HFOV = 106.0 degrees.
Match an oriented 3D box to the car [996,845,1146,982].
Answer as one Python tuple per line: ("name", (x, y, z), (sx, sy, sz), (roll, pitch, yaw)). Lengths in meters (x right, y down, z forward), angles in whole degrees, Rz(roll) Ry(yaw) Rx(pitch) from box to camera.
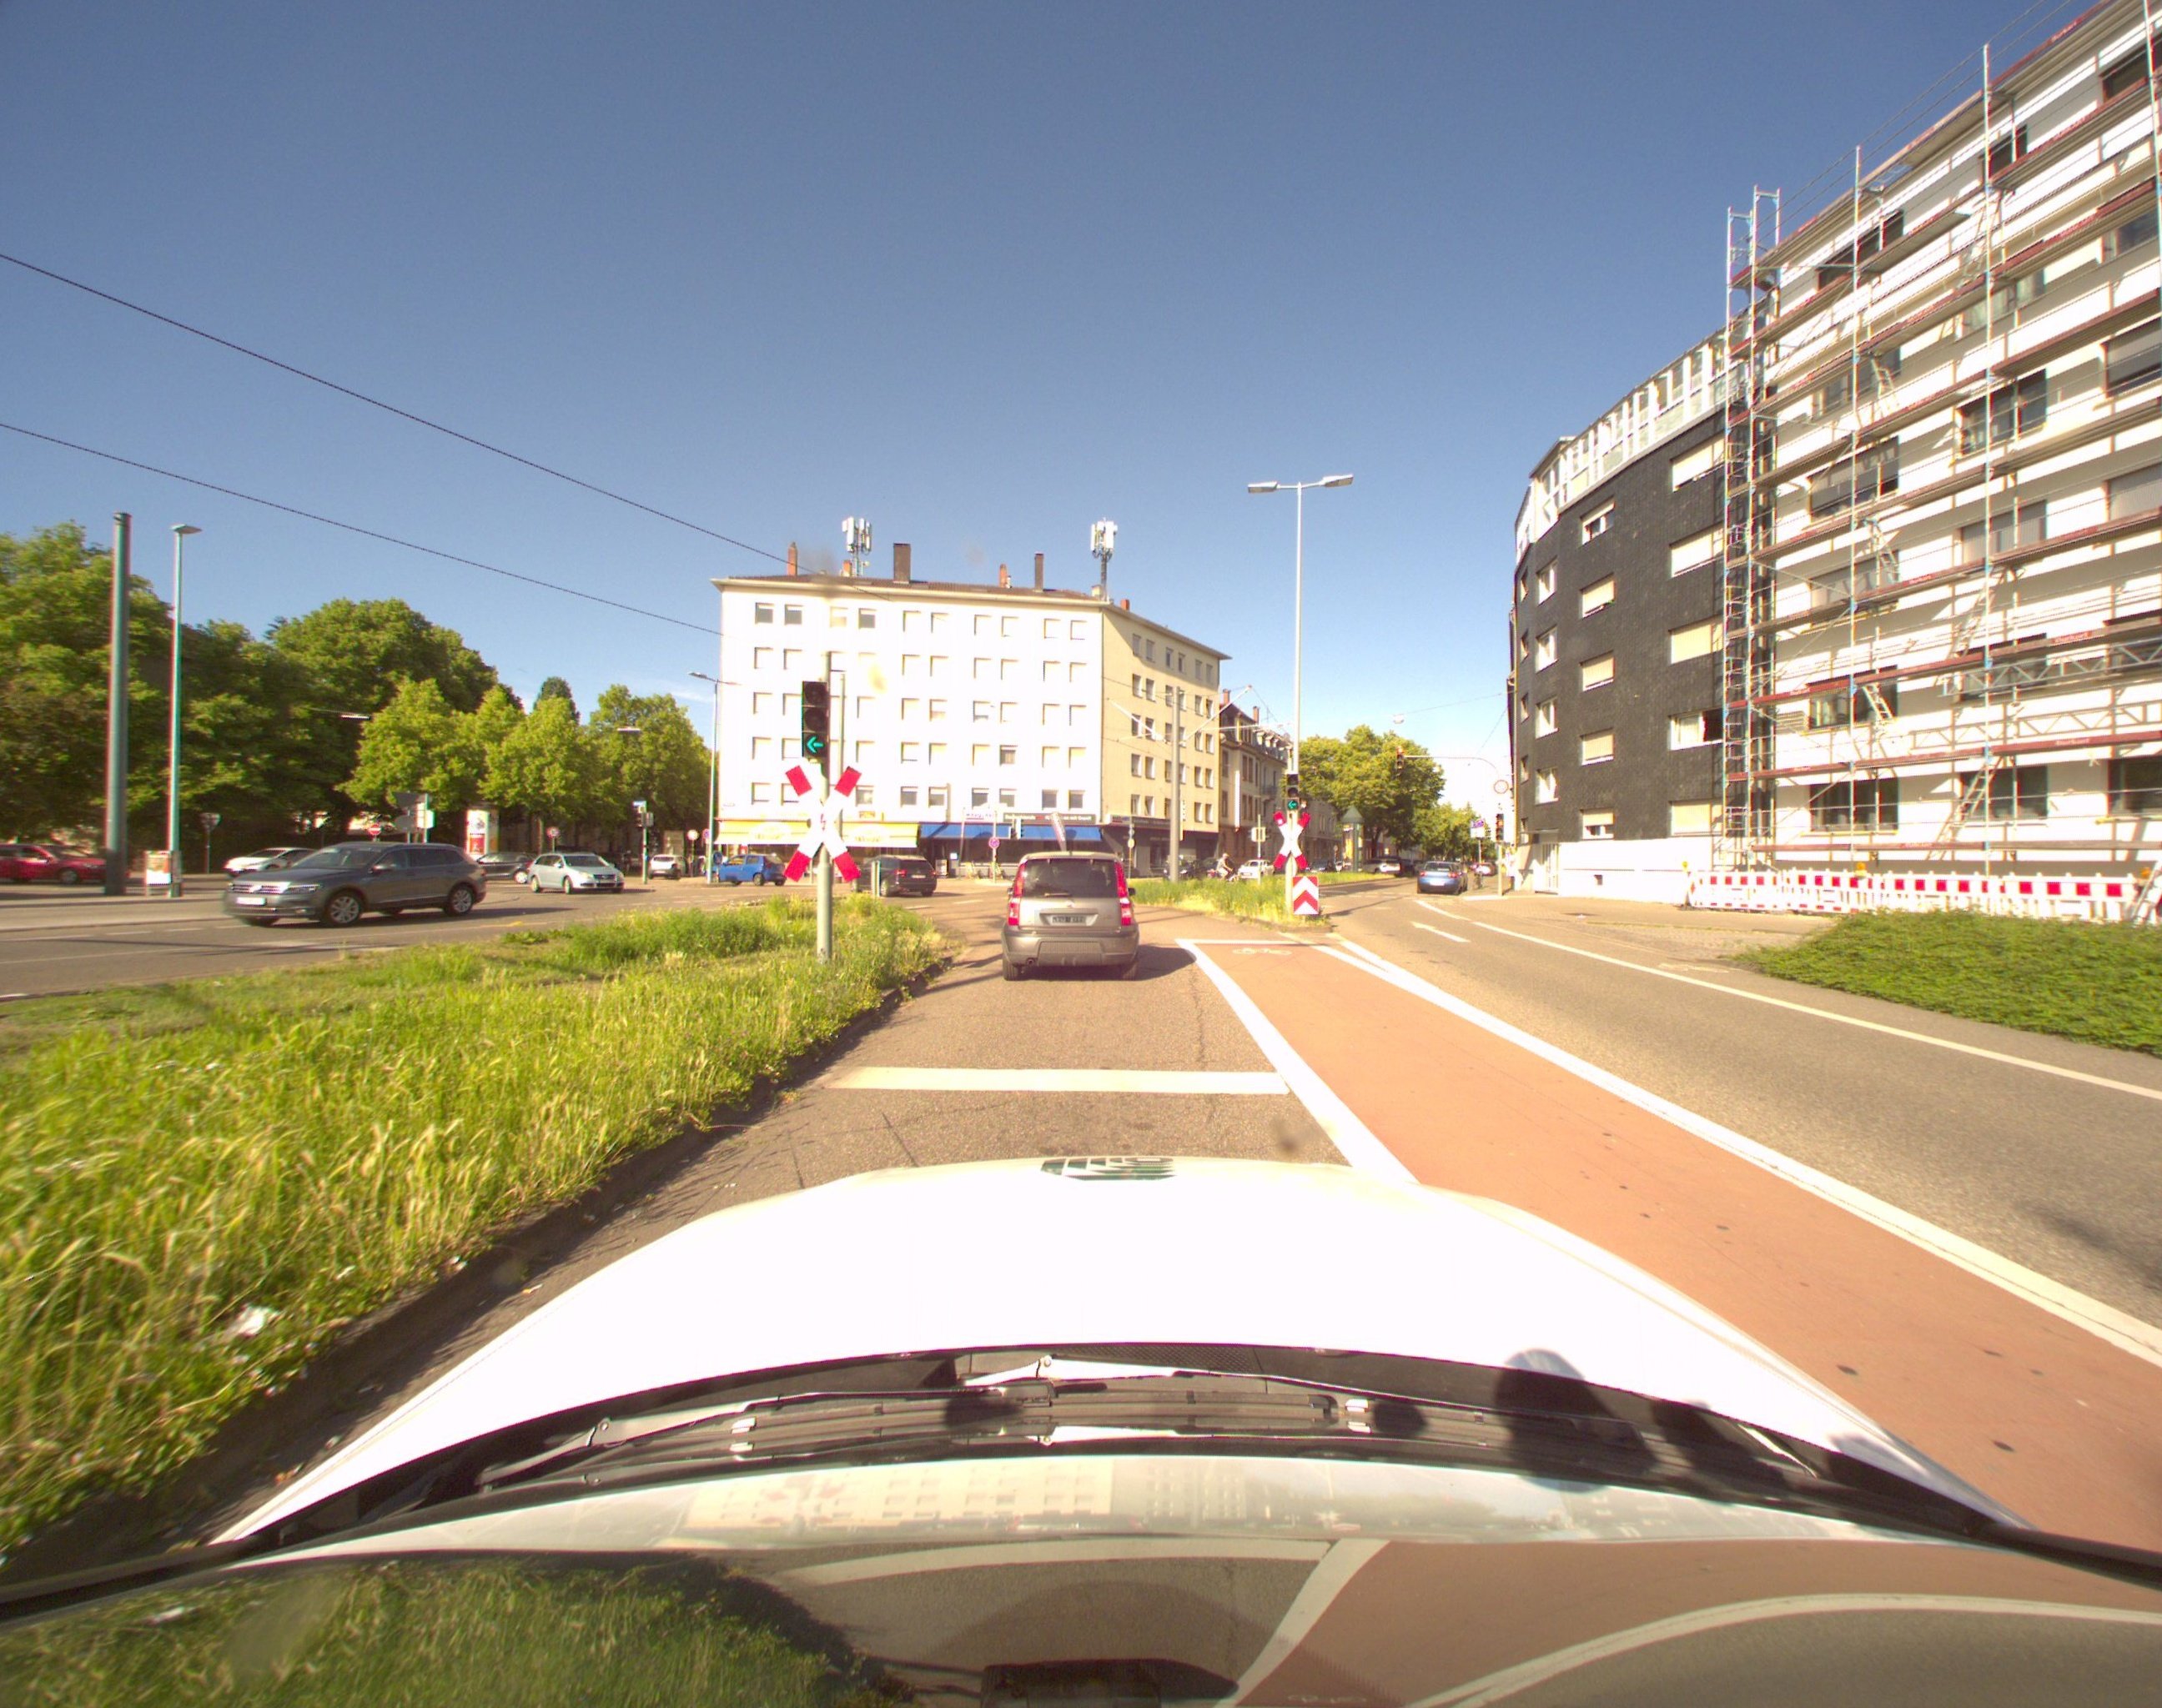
("car", (-0.214, 0.671, 10.691), (1.657, 1.510, 3.246), (1, 0, -4))

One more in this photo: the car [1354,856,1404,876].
("car", (25.078, 1.010, 68.657), (1.910, 1.594, 3.975), (1, 0, -19))

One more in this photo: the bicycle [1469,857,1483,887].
("bicycle", (20.512, 0.924, 42.296), (0.568, 1.511, 2.824), (0, 0, 28))

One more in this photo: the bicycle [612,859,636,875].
("bicycle", (-29.288, 0.849, 52.182), (0.783, 0.951, 1.848), (2, -1, -12))

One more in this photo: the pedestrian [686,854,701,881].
("pedestrian", (-23.781, 0.814, 49.956), (0.795, 1.621, 0.823), (0, 0, -26))

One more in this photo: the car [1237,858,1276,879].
("car", (12.733, 1.049, 59.098), (1.773, 1.483, 3.553), (0, 0, 29))

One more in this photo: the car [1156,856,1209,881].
("car", (5.989, 0.815, 47.711), (1.773, 1.396, 3.748), (0, 0, 29))

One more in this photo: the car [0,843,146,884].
("car", (-38.759, 0.348, 30.538), (4.540, 1.489, 1.745), (1, 0, -17))

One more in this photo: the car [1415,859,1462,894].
("car", (16.259, 0.992, 36.950), (1.758, 1.442, 3.640), (1, 0, 27))

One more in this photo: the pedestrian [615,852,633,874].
("pedestrian", (-29.285, 0.565, 52.214), (0.774, 1.427, 0.934), (1, -1, -13))

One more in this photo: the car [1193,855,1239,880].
("car", (8.793, 0.880, 52.901), (1.773, 1.565, 3.789), (0, 0, 29))

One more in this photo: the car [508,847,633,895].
("car", (-18.347, 0.572, 29.196), (4.821, 1.442, 1.745), (2, 0, 31))

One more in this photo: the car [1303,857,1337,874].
("car", (21.580, 1.043, 73.494), (1.974, 1.473, 4.025), (0, 0, 31))

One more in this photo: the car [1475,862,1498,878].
("car", (43.429, 1.748, 87.103), (1.975, 1.618, 4.024), (1, -2, 29))

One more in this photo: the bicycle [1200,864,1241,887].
("bicycle", (6.632, 1.024, 38.667), (1.835, 1.032, 0.592), (0, 0, 20))

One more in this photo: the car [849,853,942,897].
("car", (-6.916, 0.717, 30.074), (1.773, 1.486, 4.246), (1, 0, -36))

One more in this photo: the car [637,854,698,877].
("car", (-25.446, 0.681, 50.288), (1.991, 1.310, 3.992), (1, 0, -6))

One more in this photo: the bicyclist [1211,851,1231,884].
("bicyclist", (6.659, 0.623, 38.664), (0.814, 1.559, 0.565), (0, -1, 20))

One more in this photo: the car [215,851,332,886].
("car", (-40.555, 0.699, 41.032), (1.756, 1.617, 4.222), (1, 0, -3))

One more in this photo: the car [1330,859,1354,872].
("car", (30.607, 1.355, 95.292), (1.975, 1.395, 4.024), (0, 0, 28))

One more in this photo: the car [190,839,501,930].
("car", (-14.876, 0.549, 16.939), (1.743, 1.614, 4.734), (1, 0, 8))

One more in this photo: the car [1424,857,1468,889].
("car", (18.583, 0.928, 41.345), (1.802, 1.508, 4.024), (0, 0, 28))

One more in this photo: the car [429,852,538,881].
("car", (-27.409, 0.582, 37.487), (3.615, 1.253, 1.690), (1, 0, -11))

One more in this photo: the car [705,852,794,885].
("car", (-15.244, 0.670, 37.520), (3.363, 1.438, 1.656), (1, 0, 11))

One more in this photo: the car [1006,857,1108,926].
("car", (-0.665, 0.788, 18.911), (1.623, 1.429, 3.670), (1, 0, -14))

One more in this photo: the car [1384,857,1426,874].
("car", (34.330, 1.192, 86.296), (3.771, 1.786, 1.852), (0, -1, 41))
